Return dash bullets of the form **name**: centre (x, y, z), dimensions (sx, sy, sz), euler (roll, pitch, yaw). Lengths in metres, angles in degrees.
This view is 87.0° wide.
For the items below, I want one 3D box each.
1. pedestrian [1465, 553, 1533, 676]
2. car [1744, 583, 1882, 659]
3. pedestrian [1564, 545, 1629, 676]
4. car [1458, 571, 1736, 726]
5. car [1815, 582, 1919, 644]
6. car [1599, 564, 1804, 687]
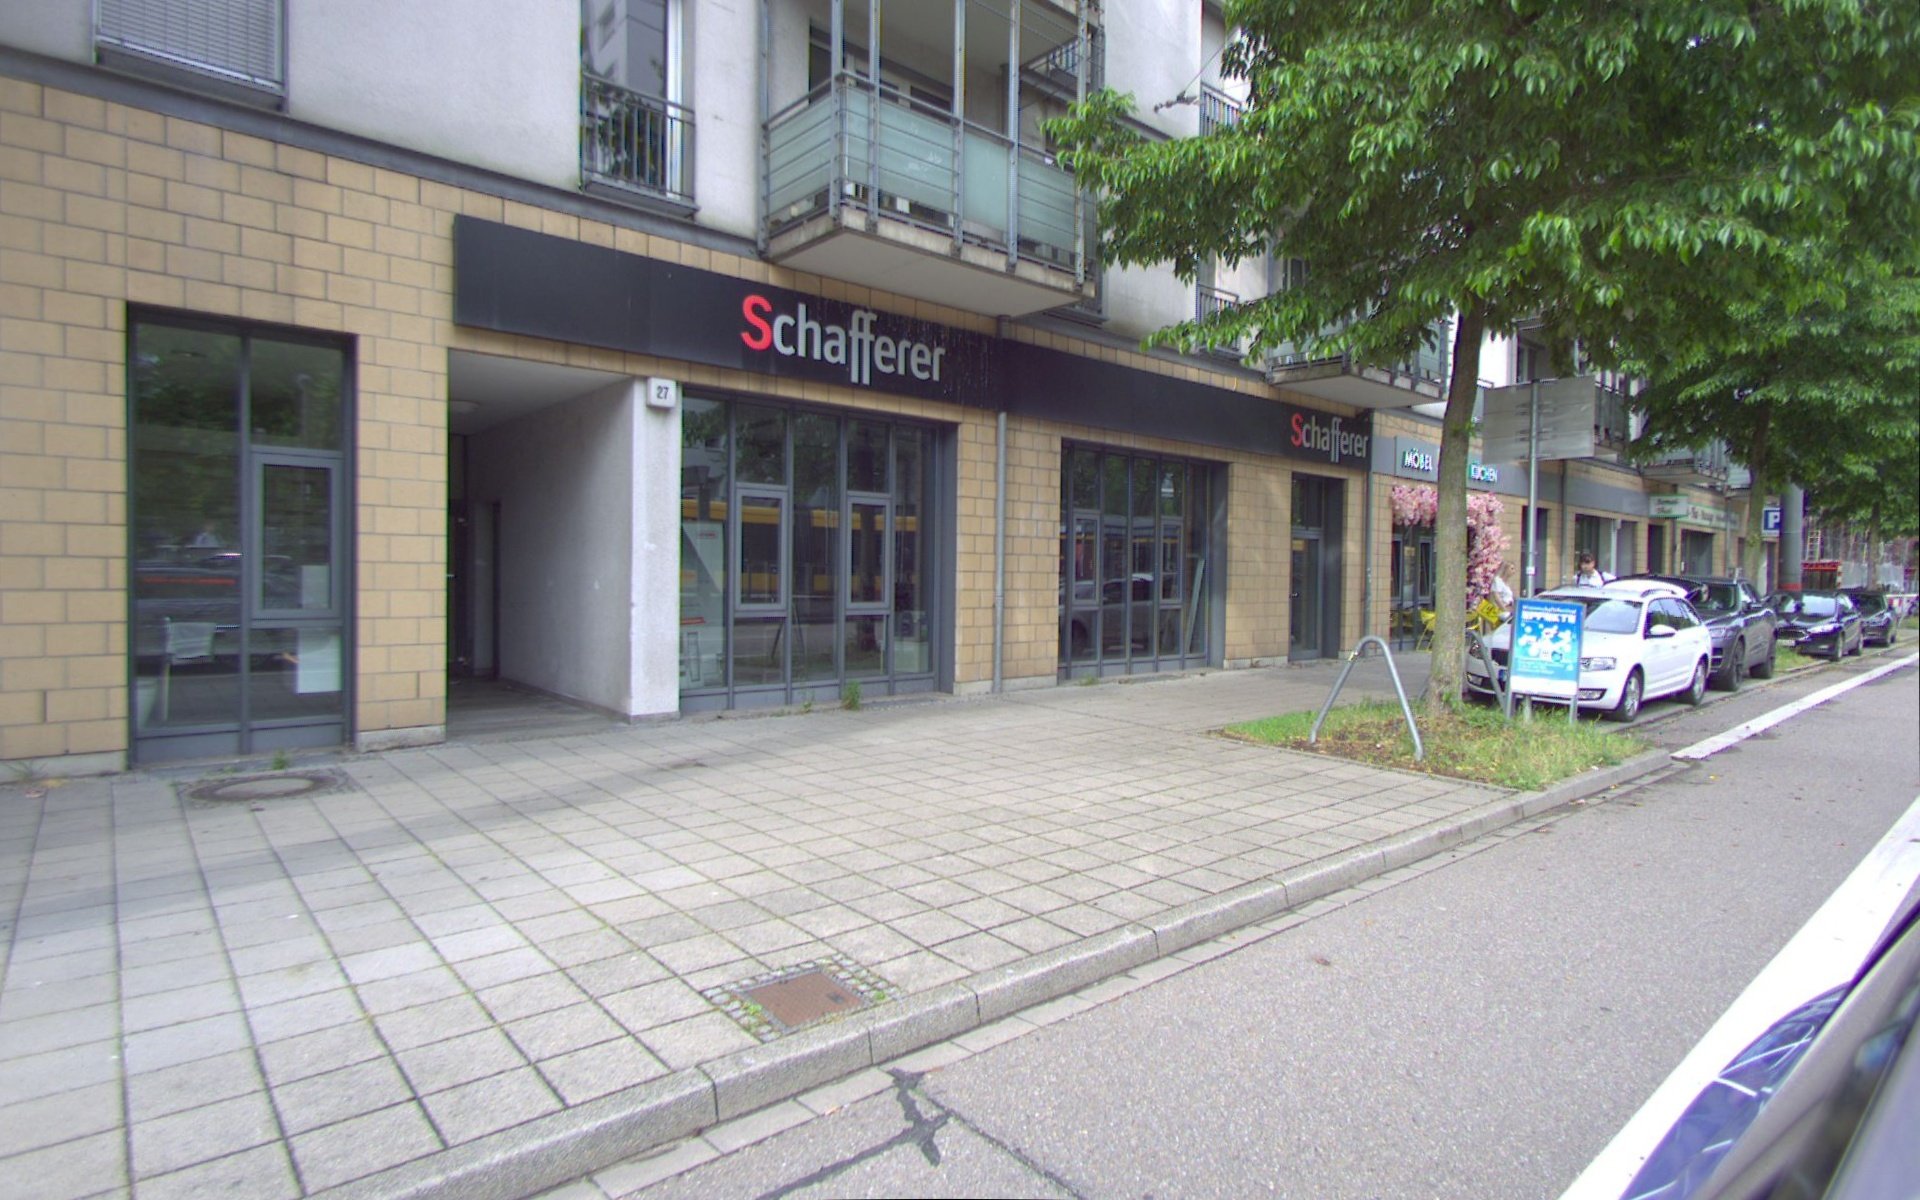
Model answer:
- **pedestrian**: centre (7.904, 0.184, 14.844), dimensions (0.735, 1.738, 0.609), euler (3, 2, 39)
- **car**: centre (18.636, 0.390, 22.045), dimensions (4.095, 1.394, 1.612), euler (-1, 5, -41)
- **pedestrian**: centre (9.491, 0.144, 15.087), dimensions (0.588, 1.907, 0.656), euler (0, 1, -40)
- **car**: centre (8.123, 0.476, 12.756), dimensions (4.233, 1.539, 1.738), euler (-1, 5, -41)
- **car**: centre (24.157, 0.291, 26.871), dimensions (3.603, 1.417, 1.612), euler (-1, 5, -41)
- **car**: centre (11.795, 0.321, 16.029), dimensions (3.732, 1.630, 1.738), euler (-1, 5, -41)
